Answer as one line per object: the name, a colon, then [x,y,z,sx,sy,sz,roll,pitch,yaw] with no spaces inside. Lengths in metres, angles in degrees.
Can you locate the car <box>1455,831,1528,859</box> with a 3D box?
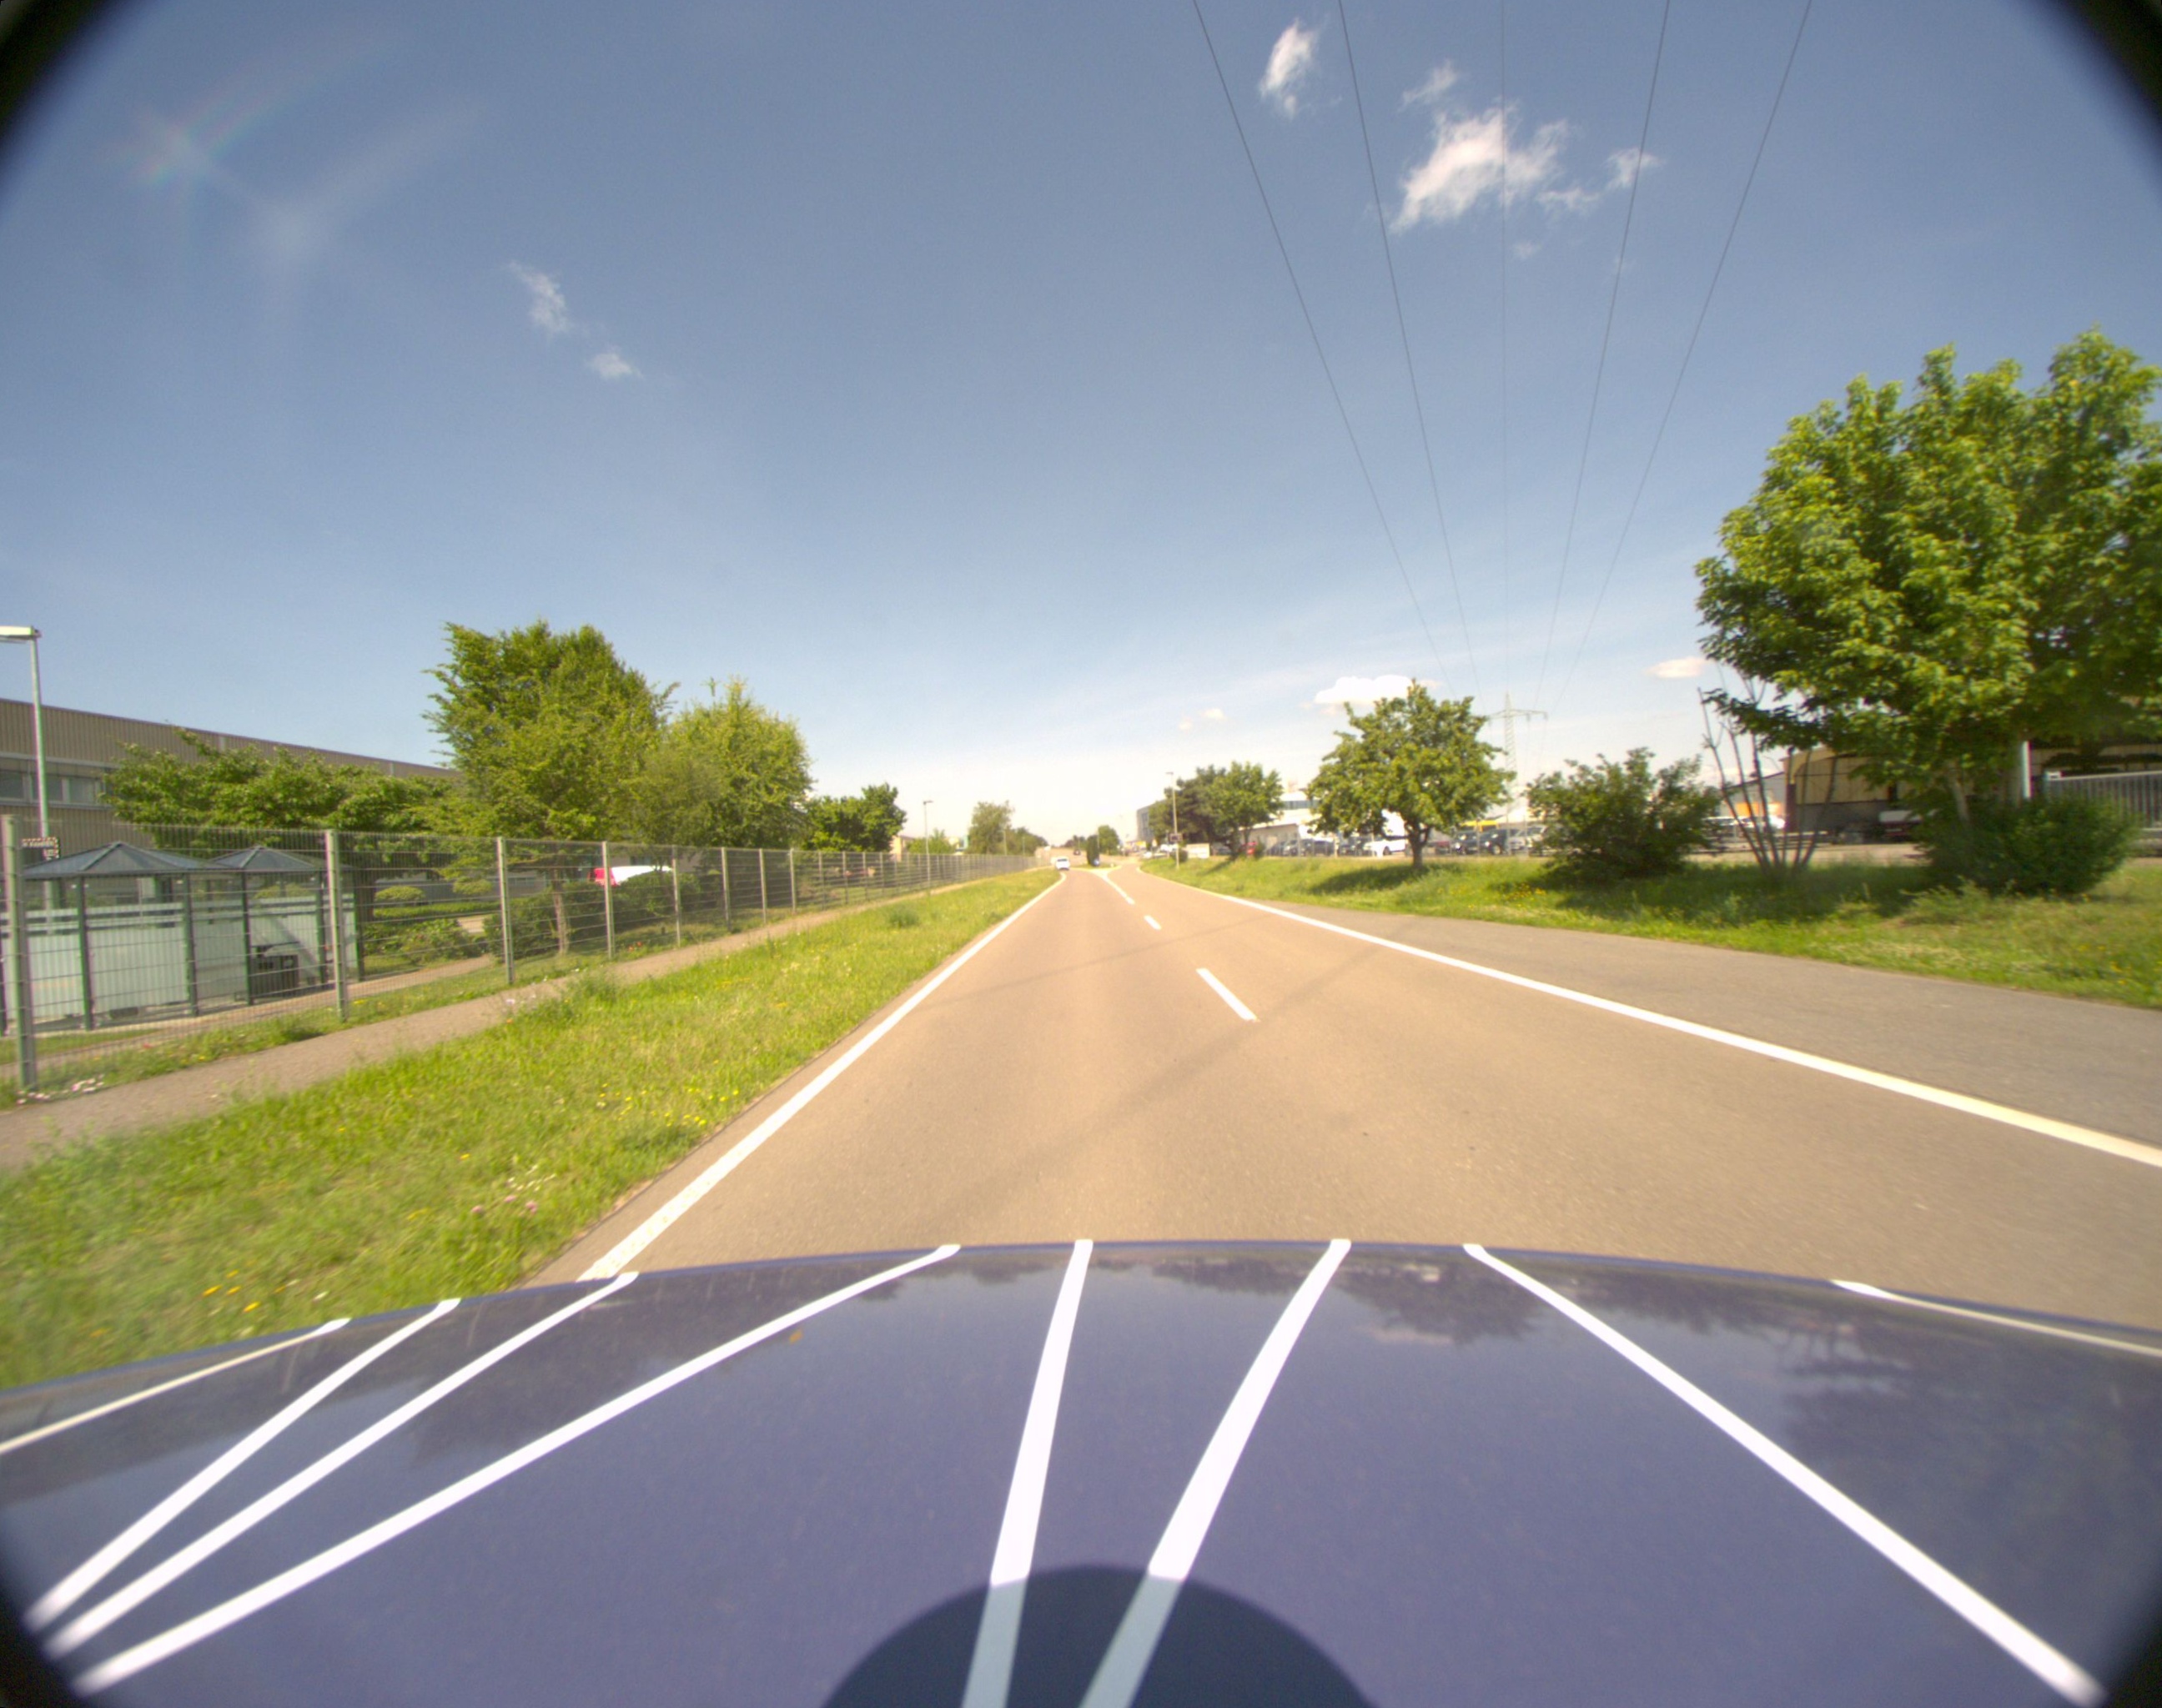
car: [23.545,-0.508,43.510,4.006,1.302,1.938,-4,0,-33]

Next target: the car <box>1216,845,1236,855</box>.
car: [22.097,-0.575,115.906,1.999,1.400,4.515,-4,0,-1]

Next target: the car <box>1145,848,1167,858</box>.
car: [14.360,-0.207,145.116,3.996,1.510,2.000,-3,1,2]

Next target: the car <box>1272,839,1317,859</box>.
car: [20.560,-0.496,73.110,4.115,1.695,1.719,-4,0,-33]

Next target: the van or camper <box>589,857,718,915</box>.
van or camper: [-23.958,1.752,42.808,5.788,2.504,1.999,-6,1,-6]

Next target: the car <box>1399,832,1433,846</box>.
car: [38.436,-1.749,87.314,1.925,1.425,3.998,-4,0,-4]

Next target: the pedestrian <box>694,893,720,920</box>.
pedestrian: [-13.110,1.837,26.652,0.667,0.888,0.511,-4,1,-15]

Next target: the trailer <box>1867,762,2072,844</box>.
trailer: [35.985,-2.017,30.895,5.579,2.809,2.739,-4,0,-7]

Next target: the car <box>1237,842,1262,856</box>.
car: [22.616,-0.708,102.224,1.999,1.734,4.227,-3,0,-6]

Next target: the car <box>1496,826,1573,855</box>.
car: [24.356,-0.748,40.799,4.006,1.302,1.938,-4,0,-33]

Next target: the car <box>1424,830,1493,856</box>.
car: [23.262,-0.671,46.805,4.006,1.302,1.938,-4,0,-33]

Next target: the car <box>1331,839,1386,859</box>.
car: [22.001,-0.400,60.252,4.005,1.302,1.938,-4,0,-31]

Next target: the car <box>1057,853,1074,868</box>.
car: [-2.131,0.923,104.542,1.998,1.904,4.000,-3,1,3]

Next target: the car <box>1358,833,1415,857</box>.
car: [22.859,-0.703,56.861,4.006,1.531,1.938,-4,0,-33]

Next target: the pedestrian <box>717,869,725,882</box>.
pedestrian: [-38.778,2.288,81.894,0.515,1.383,0.730,-4,1,-4]

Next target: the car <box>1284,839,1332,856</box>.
car: [20.816,-0.610,69.634,4.006,1.302,1.938,-4,0,-33]

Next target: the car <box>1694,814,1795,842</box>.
car: [38.296,-1.493,43.918,1.846,1.302,3.991,-4,0,-33]

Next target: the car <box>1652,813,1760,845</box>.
car: [35.367,-1.385,43.115,2.003,1.477,4.239,-4,0,-31]

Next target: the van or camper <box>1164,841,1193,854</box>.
van or camper: [20.064,-1.317,156.364,5.576,2.483,2.081,-3,1,23]
